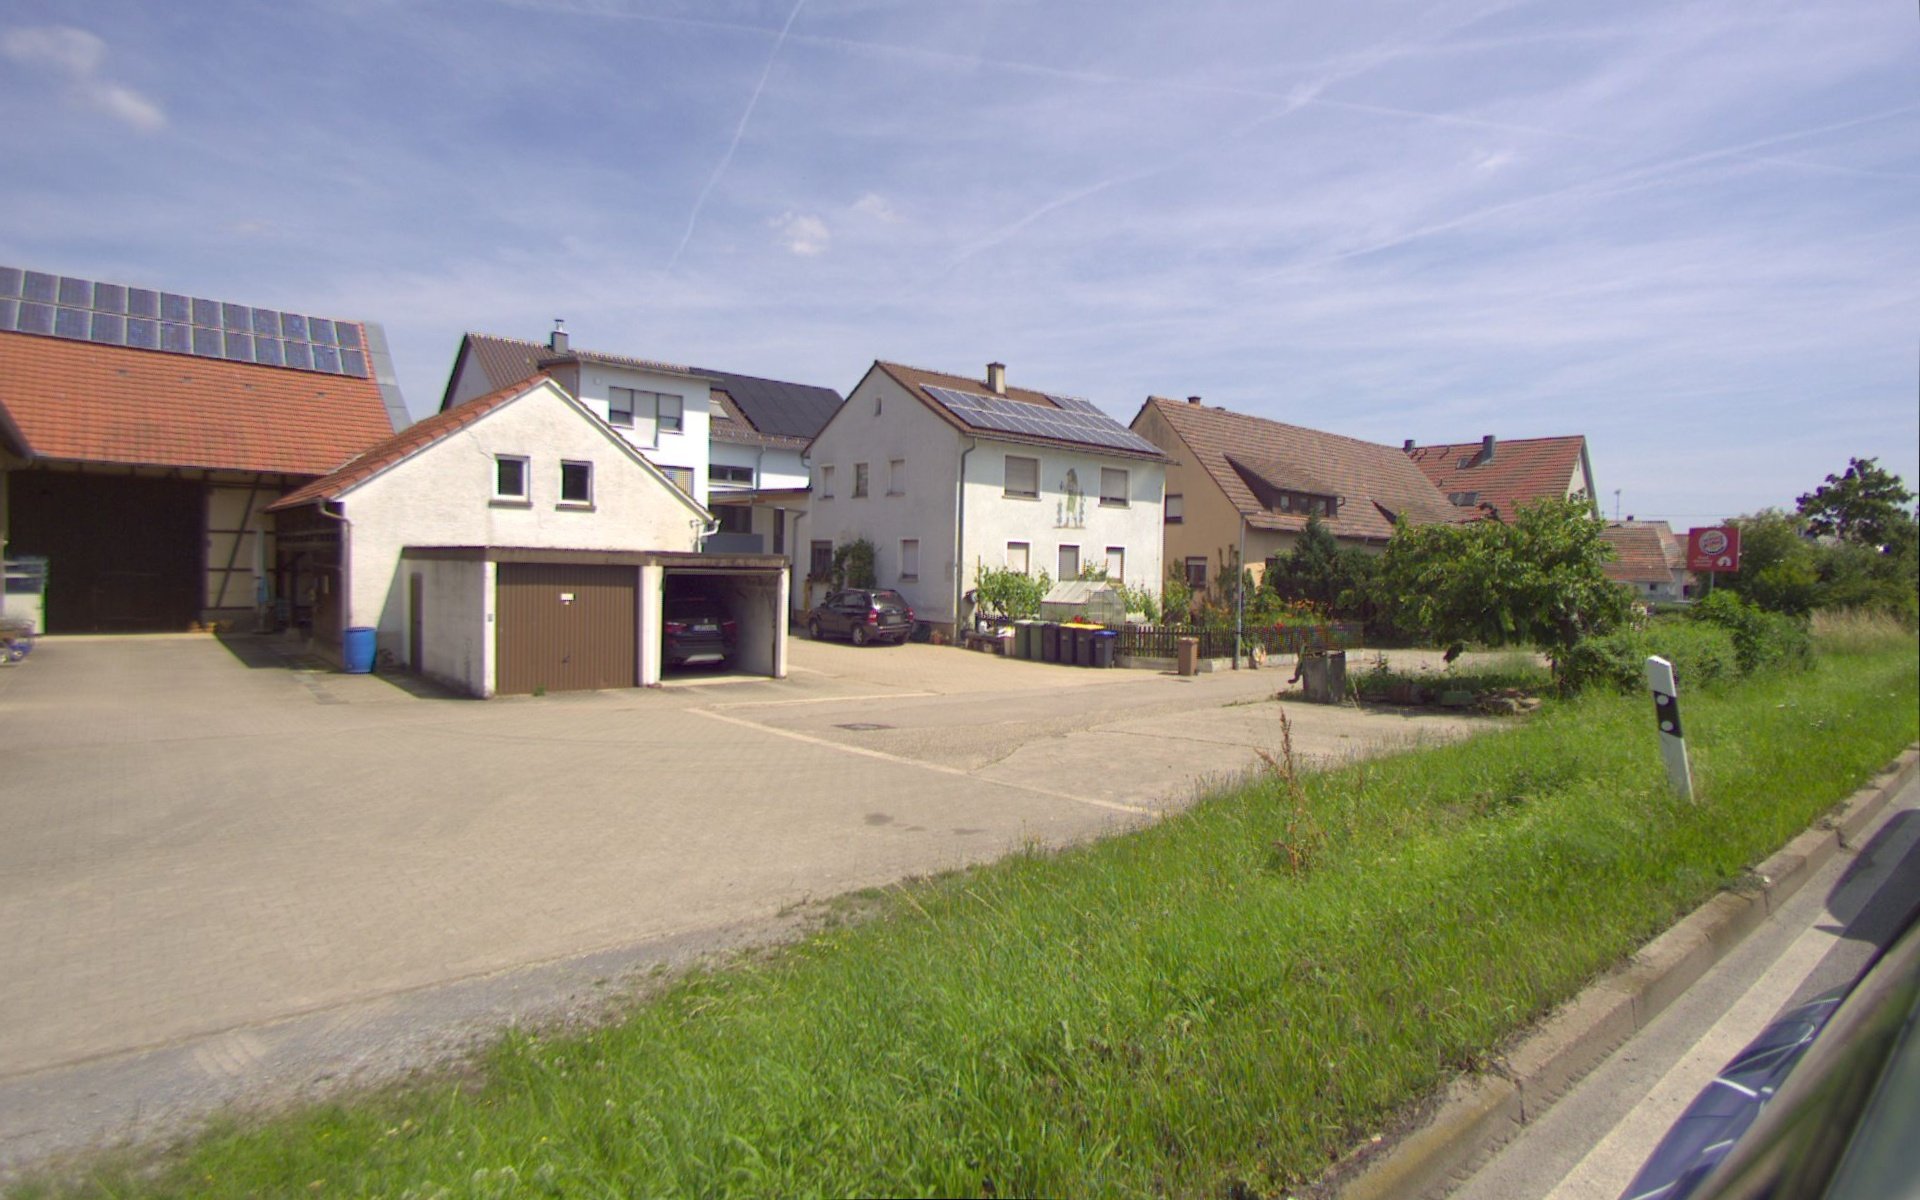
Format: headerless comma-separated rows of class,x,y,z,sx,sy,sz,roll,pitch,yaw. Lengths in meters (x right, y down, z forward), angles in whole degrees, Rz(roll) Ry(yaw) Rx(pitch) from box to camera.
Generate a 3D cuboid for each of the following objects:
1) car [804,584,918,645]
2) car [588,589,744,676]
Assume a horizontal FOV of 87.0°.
car,-3.224,0.388,32.301,1.810,1.714,3.959,-1,3,-38
car,-6.429,0.608,21.884,1.802,1.597,3.996,-1,2,-40
